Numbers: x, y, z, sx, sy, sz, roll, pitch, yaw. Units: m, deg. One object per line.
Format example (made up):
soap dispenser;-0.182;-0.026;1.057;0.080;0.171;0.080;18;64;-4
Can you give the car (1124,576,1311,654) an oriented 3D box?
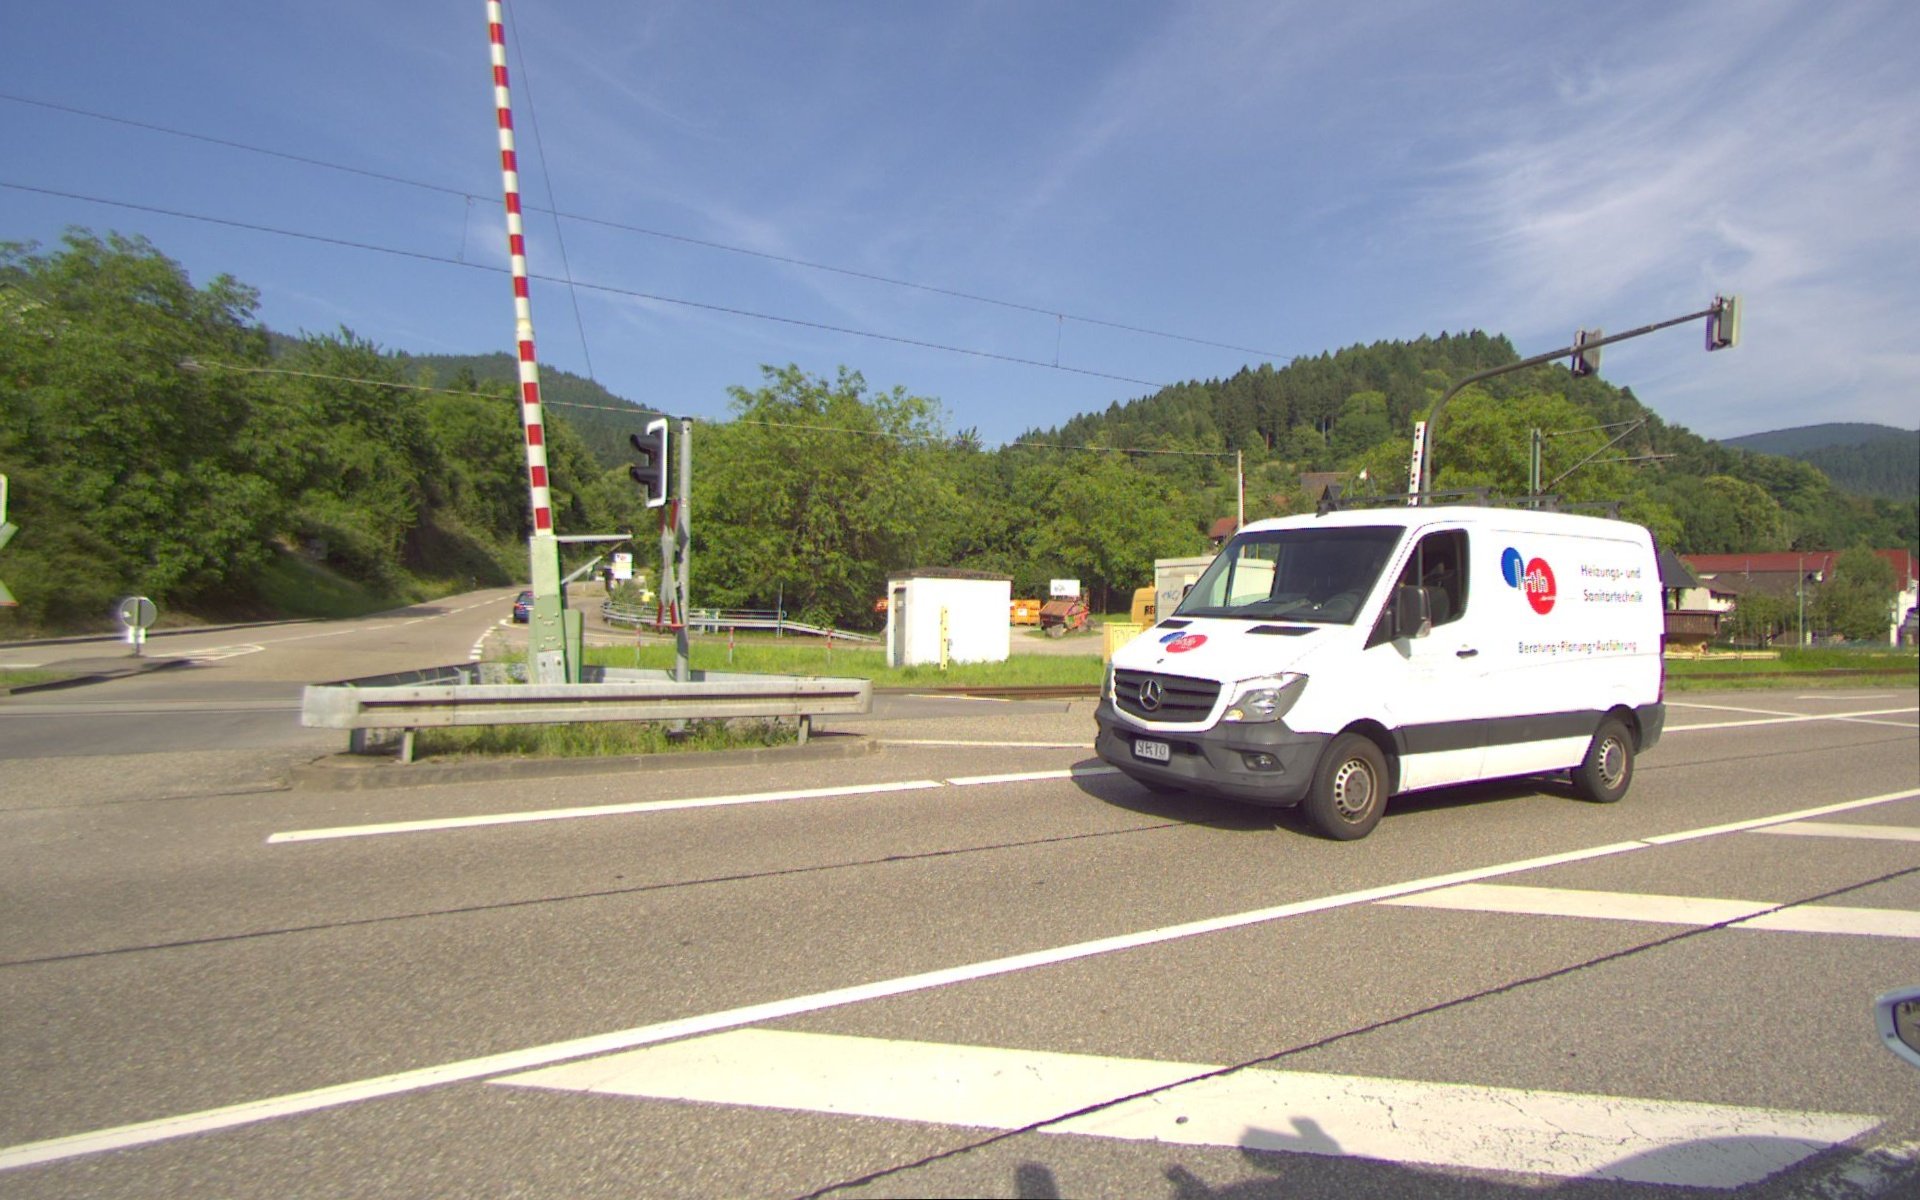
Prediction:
car;8.945;0.495;35.838;2.905;2.489;7.052;1;0;-21

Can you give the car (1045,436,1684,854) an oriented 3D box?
car;3.425;0.307;8.177;5.167;2.469;2.109;1;0;-31

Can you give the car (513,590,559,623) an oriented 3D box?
car;-21.639;0.343;51.387;1.920;1.550;3.982;1;-1;-20
